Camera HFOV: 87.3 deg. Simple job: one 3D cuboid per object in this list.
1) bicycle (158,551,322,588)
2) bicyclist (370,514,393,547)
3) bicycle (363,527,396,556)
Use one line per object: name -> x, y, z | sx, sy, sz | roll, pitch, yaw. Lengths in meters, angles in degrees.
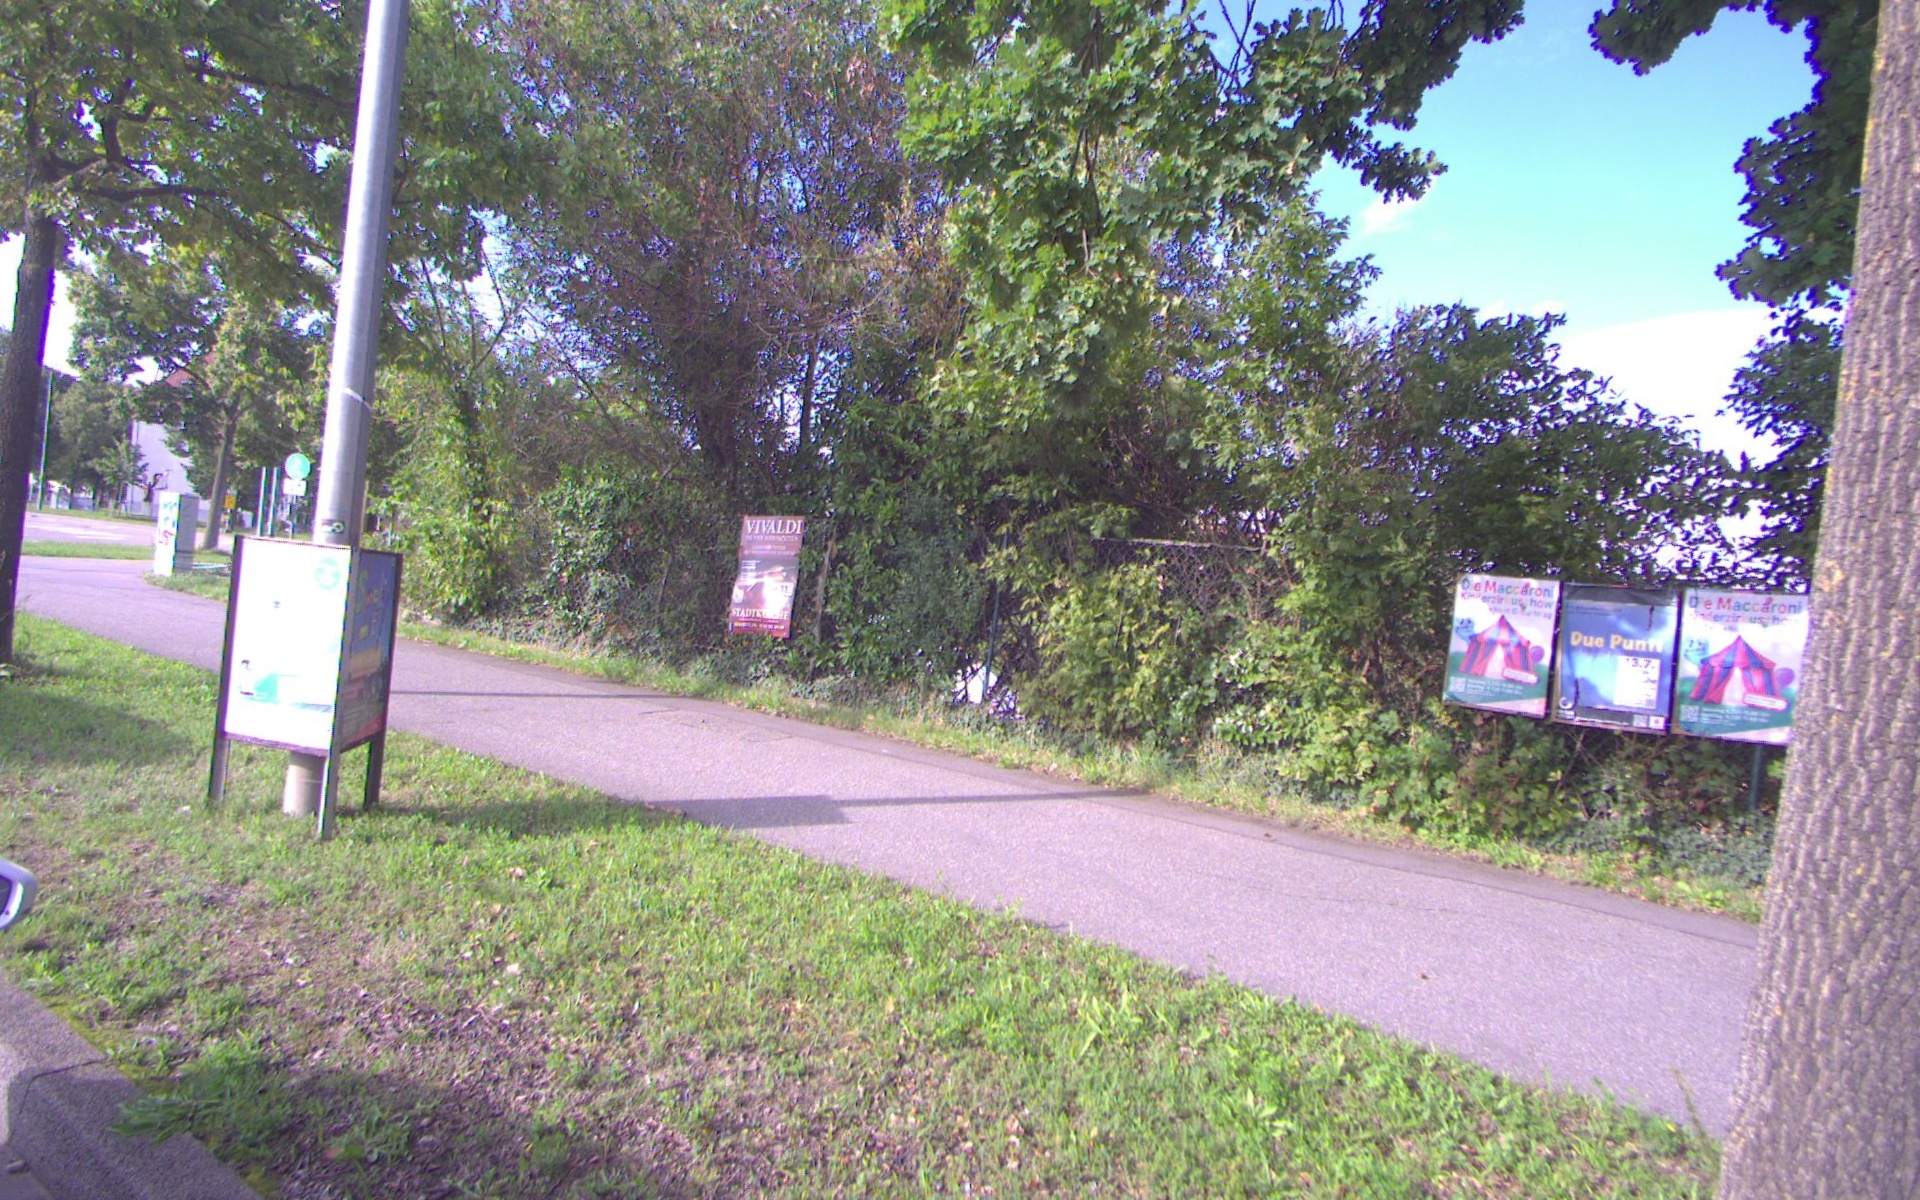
bicycle -> -13.963, -0.584, 19.526 | 2.529, 0.390, 1.411 | 7, 0, 21
bicyclist -> -38.925, -4.656, 67.652 | 1.126, 2.038, 0.839 | 7, 0, 42
bicycle -> -39.124, -3.954, 67.748 | 2.461, 1.681, 1.042 | 7, -1, 42
